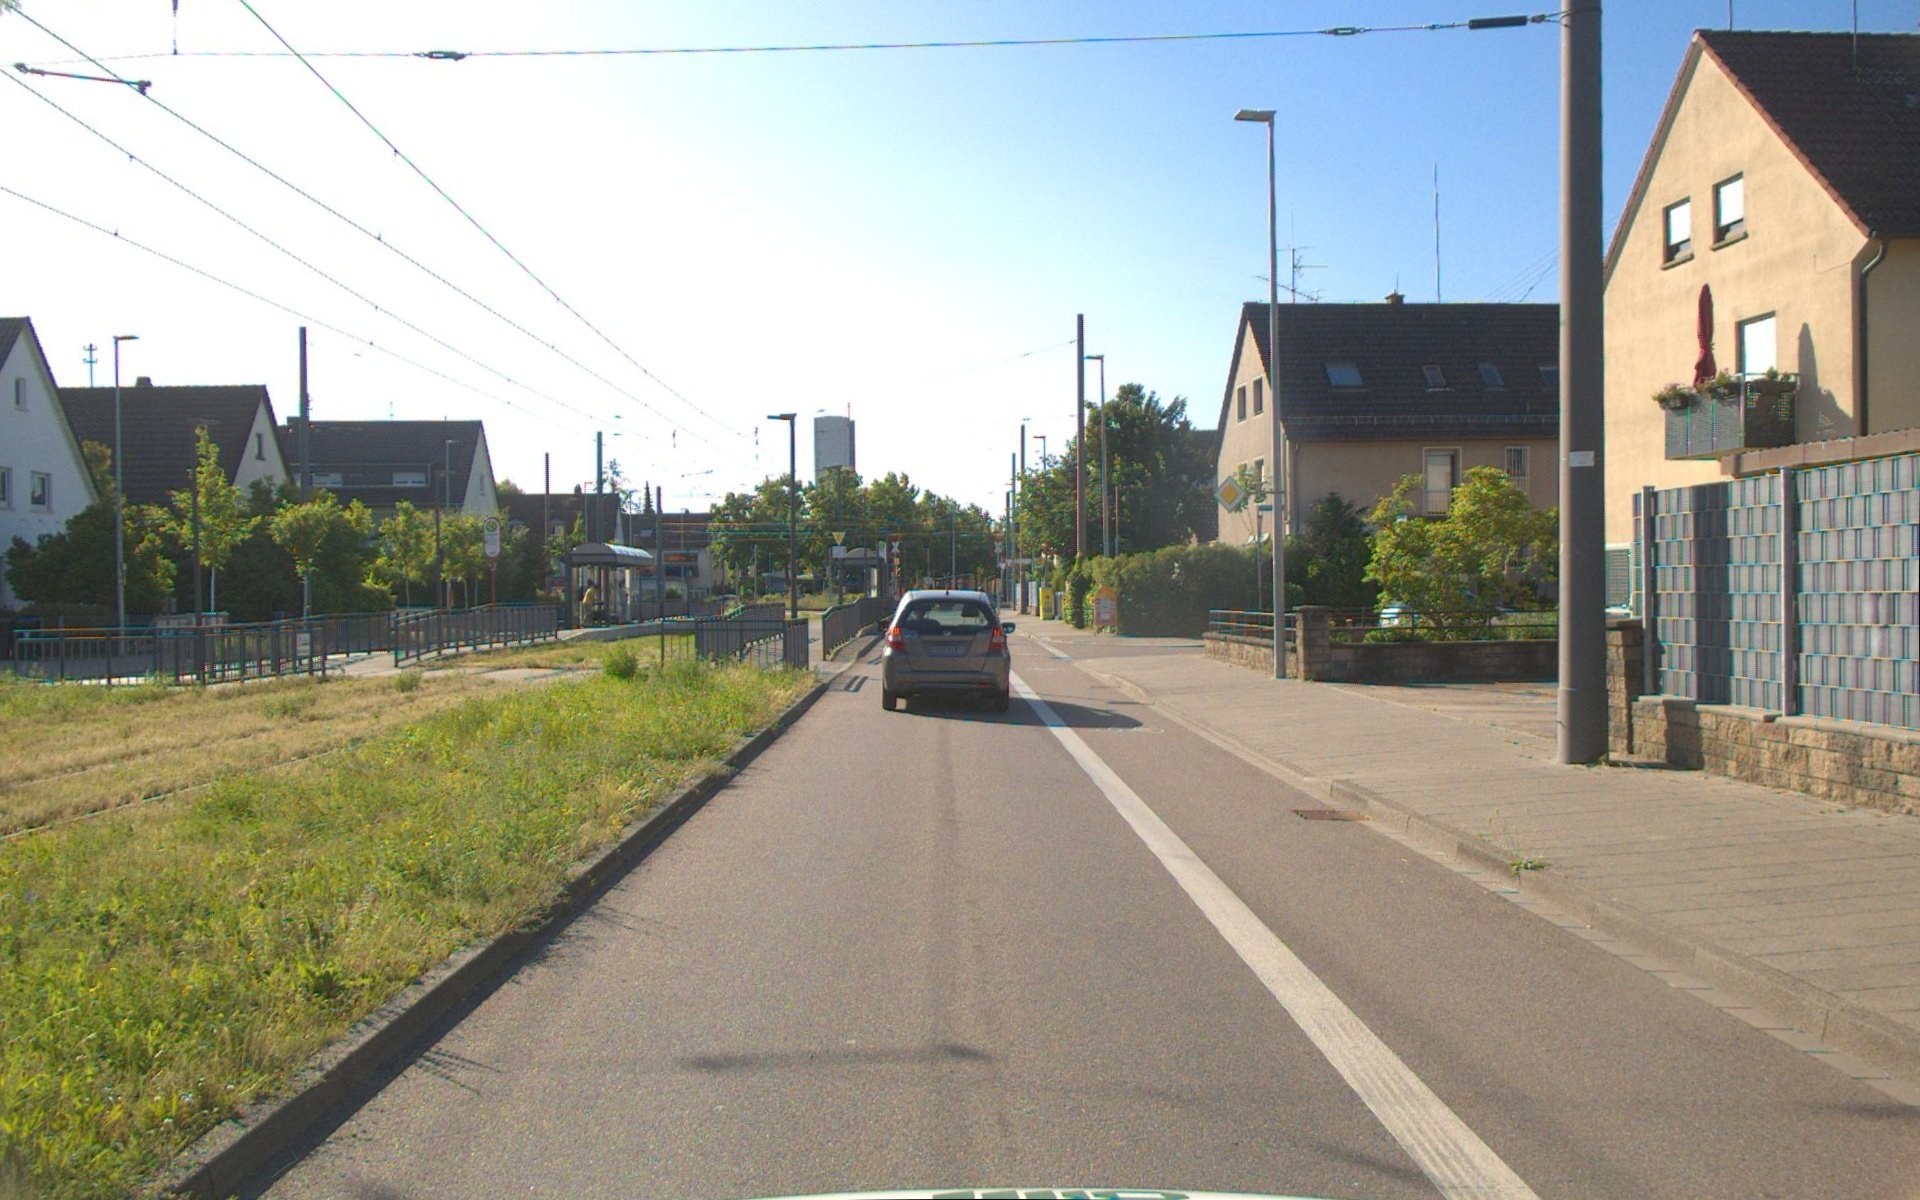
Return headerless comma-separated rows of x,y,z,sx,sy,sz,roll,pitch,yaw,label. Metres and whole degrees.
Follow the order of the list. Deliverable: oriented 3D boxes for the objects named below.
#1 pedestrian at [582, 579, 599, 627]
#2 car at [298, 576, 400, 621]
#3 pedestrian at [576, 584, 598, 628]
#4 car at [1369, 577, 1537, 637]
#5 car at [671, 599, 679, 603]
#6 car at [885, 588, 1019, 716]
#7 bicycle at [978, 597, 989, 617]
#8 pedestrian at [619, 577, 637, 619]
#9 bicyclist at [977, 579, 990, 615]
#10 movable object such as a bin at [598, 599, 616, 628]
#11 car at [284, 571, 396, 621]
-13.547,0.098,60.714,0.509,1.738,0.580,-1,0,-5,pedestrian
-25.968,-0.045,70.382,3.773,1.838,1.796,1,-1,-9,car
-13.343,0.221,59.209,0.662,1.562,0.748,-1,0,-5,pedestrian
13.605,0.201,45.790,4.059,1.538,1.799,-1,-1,-6,car
-25.901,0.070,150.483,0.684,0.342,0.329,1,0,4,car
-0.147,0.642,22.261,1.637,1.562,3.486,1,0,-2,car
1.141,0.341,79.805,0.465,0.978,1.657,1,0,-1,bicycle
-13.672,-0.087,68.132,0.490,1.726,0.771,-3,0,0,pedestrian
1.120,-0.135,79.548,0.586,1.731,0.683,1,-1,-1,bicyclist
-12.713,0.485,59.523,0.535,1.005,0.741,-1,0,-5,movable object such as a bin
-25.287,-0.149,67.607,3.913,2.004,1.929,1,-1,-9,car
